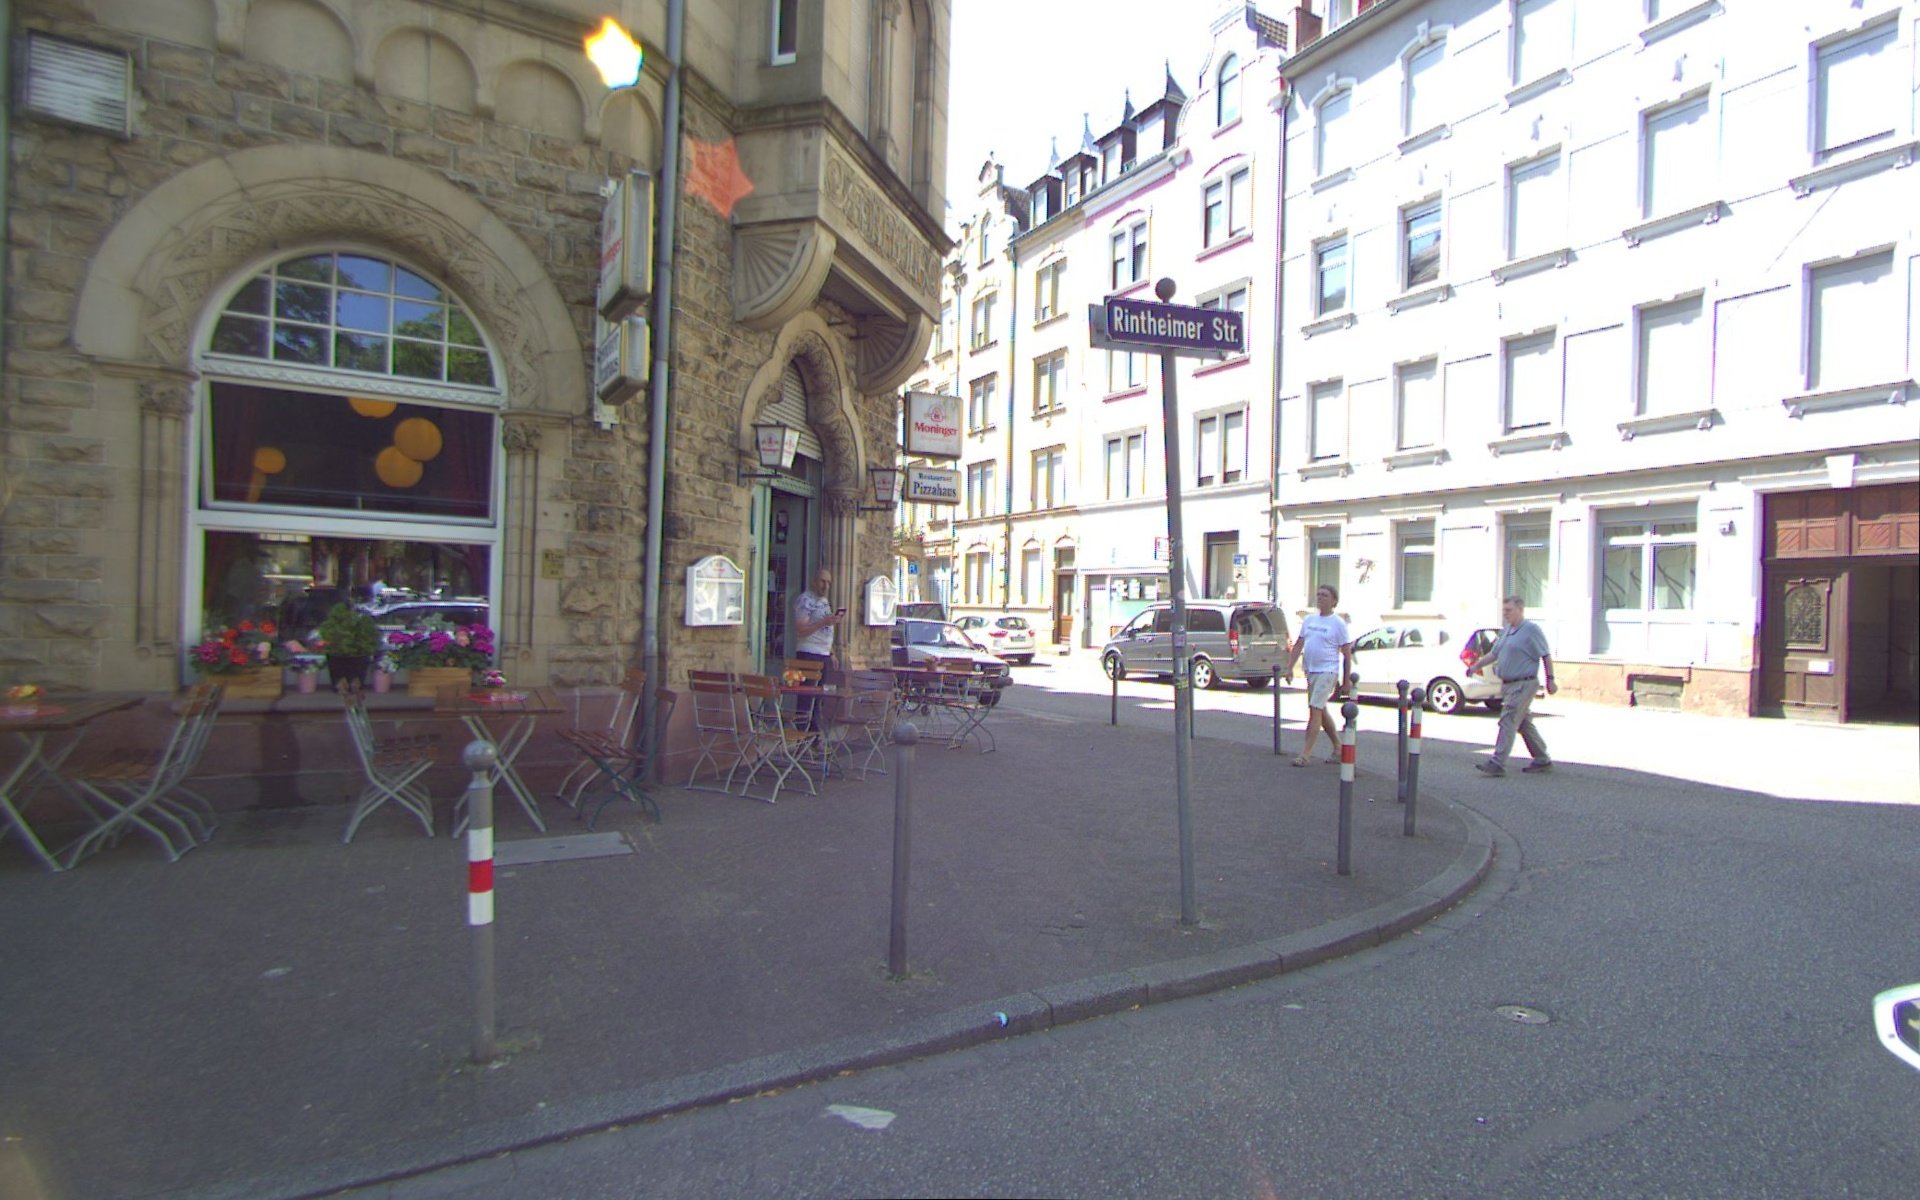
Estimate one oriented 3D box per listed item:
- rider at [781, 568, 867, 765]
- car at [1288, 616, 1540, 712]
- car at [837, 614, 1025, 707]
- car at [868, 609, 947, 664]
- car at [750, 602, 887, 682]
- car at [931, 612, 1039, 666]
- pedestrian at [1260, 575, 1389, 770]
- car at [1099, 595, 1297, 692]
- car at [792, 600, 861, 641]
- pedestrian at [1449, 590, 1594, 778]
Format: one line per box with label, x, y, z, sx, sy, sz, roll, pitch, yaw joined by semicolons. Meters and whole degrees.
rider;-1.228;0.587;9.161;0.530;1.719;0.642;1;-1;16
car;8.327;1.107;18.790;1.786;1.582;4.028;2;-2;-30
car;-0.635;1.021;17.931;1.702;1.444;3.815;4;-3;-30
car;-1.961;1.296;36.733;1.530;1.910;3.333;1;-1;-30
car;-3.266;0.912;22.609;1.702;1.603;3.815;4;-3;-30
car;0.739;1.198;31.949;1.702;1.603;3.815;1;-1;-30
pedestrian;3.763;0.731;10.414;0.920;1.914;0.849;2;-1;-18
car;5.424;0.937;23.561;1.854;2.024;4.685;0;-1;-29
car;-5.949;0.908;44.453;1.702;1.753;3.814;1;-1;-30
pedestrian;5.762;0.844;10.360;0.942;1.838;0.903;1;-1;-7
